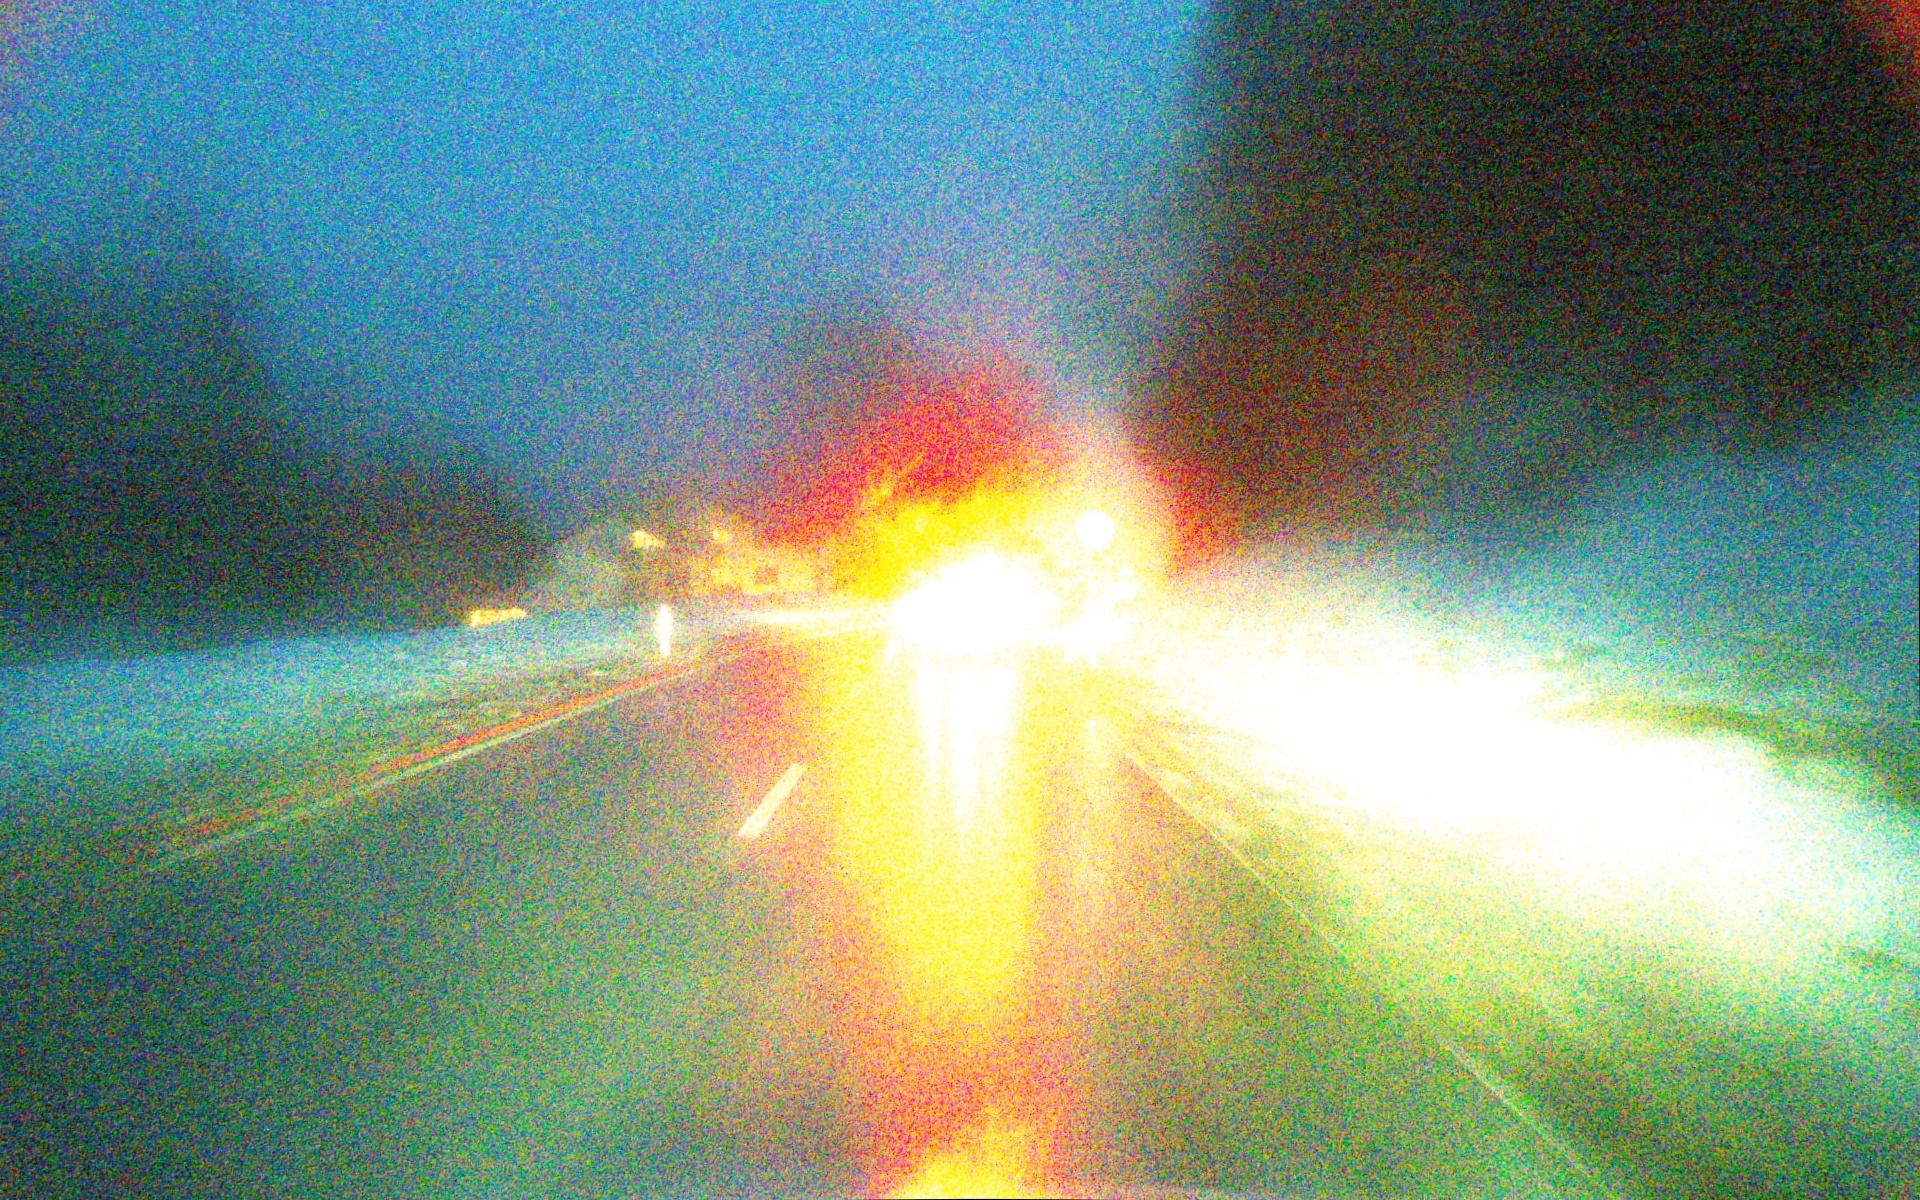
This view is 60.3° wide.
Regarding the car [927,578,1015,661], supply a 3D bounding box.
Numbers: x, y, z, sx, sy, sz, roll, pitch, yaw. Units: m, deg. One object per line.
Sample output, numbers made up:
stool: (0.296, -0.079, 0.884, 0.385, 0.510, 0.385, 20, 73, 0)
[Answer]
car: (0.236, 0.378, 34.925, 1.764, 1.657, 3.615, 0, 0, 0)
